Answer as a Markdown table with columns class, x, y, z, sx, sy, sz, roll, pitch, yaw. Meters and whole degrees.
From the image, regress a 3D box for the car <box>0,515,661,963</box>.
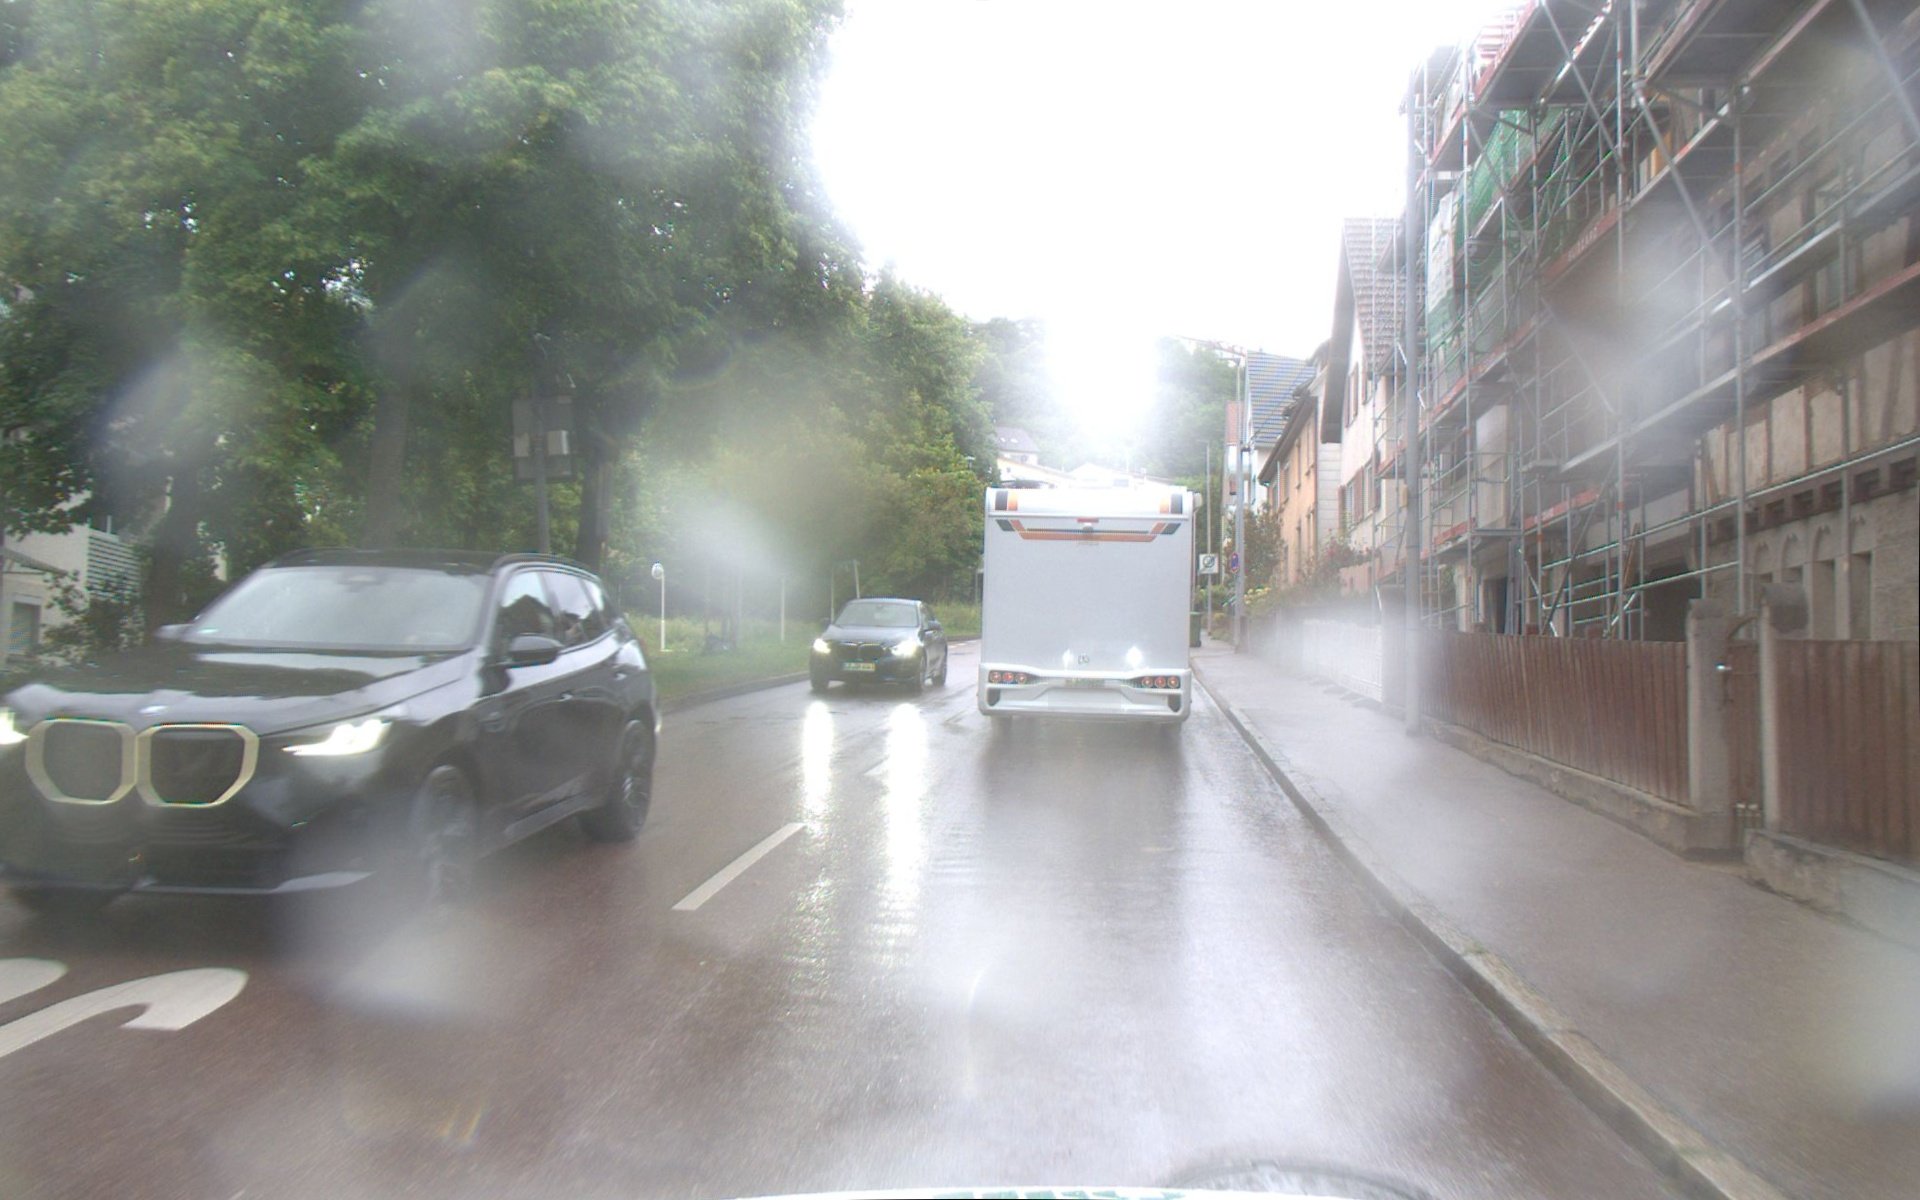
| class | x | y | z | sx | sy | sz | roll | pitch | yaw |
| --- | --- | --- | --- | --- | --- | --- | --- | --- | --- |
| car | -2.926 | 0.521 | 8.338 | 1.848 | 1.644 | 4.141 | 2 | 0 | 3 |

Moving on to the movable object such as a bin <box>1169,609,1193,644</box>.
| class | x | y | z | sx | sy | sz | roll | pitch | yaw |
| --- | --- | --- | --- | --- | --- | --- | --- | --- | --- |
| movable object such as a bin | 7.011 | 0.826 | 52.359 | 0.704 | 1.070 | 0.800 | 2 | 0 | 10 |

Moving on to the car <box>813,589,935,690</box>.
| class | x | y | z | sx | sy | sz | roll | pitch | yaw |
| --- | --- | --- | --- | --- | --- | --- | --- | --- | --- |
| car | -1.325 | 0.588 | 26.926 | 1.729 | 1.466 | 4.063 | 2 | 0 | 0 |

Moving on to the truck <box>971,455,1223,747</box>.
| class | x | y | z | sx | sy | sz | roll | pitch | yaw |
| --- | --- | --- | --- | --- | --- | --- | --- | --- | --- |
| truck | 1.681 | 0.012 | 19.773 | 2.462 | 2.867 | 6.205 | 2 | 0 | 6 |

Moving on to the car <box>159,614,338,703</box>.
| class | x | y | z | sx | sy | sz | roll | pitch | yaw |
| --- | --- | --- | --- | --- | --- | --- | --- | --- | --- |
| car | -12.134 | 0.956 | 28.451 | 1.956 | 1.352 | 3.441 | 2 | 0 | -8 |
